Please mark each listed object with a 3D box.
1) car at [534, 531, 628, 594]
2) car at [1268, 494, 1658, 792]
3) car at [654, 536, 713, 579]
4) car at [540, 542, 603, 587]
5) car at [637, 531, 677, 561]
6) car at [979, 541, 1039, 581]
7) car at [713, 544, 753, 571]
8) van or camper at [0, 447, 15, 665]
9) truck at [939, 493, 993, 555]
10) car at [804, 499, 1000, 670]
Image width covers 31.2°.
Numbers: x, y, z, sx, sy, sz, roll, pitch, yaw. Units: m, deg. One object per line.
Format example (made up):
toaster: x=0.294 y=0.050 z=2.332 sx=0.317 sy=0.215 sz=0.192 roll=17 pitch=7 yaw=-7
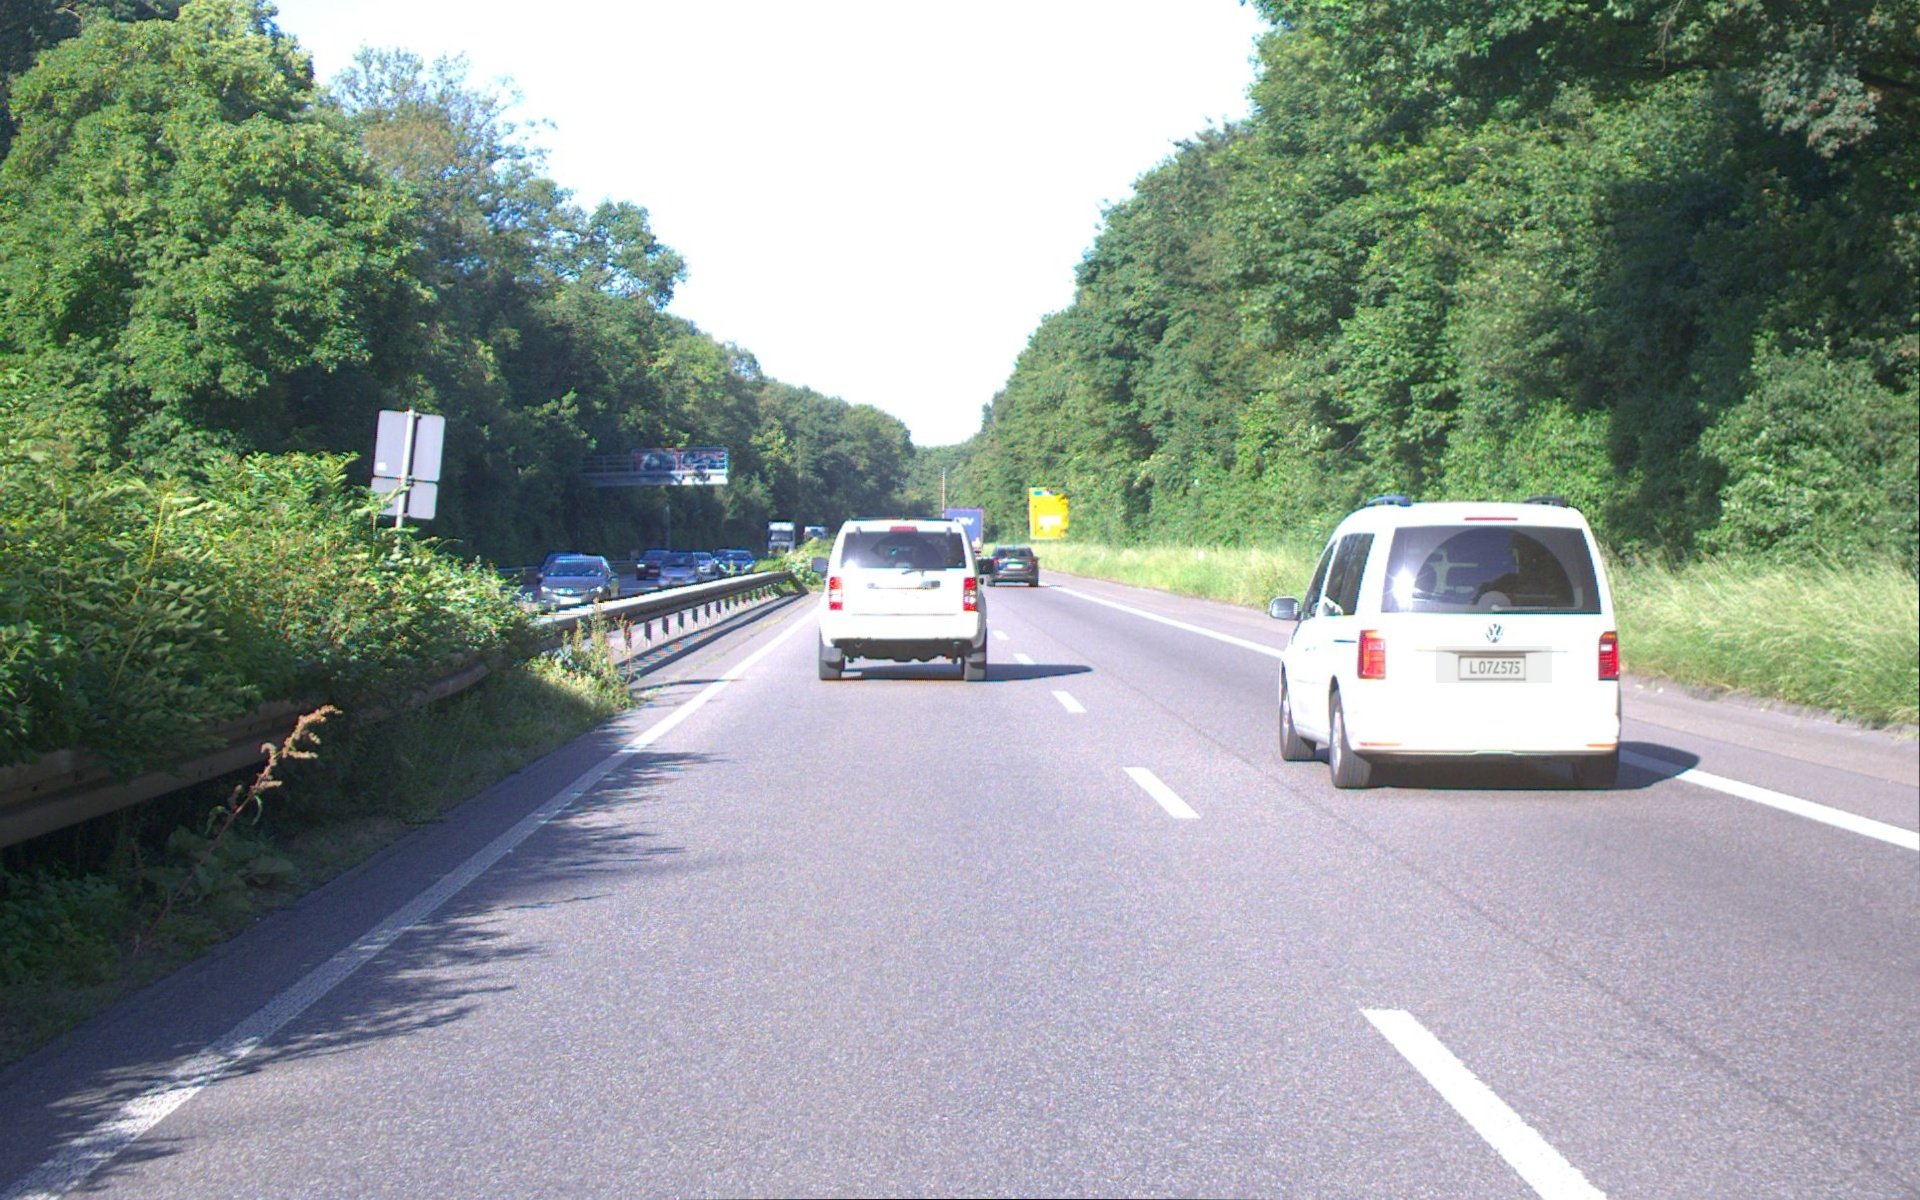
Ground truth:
car: x=-9.542 y=-0.967 z=86.788 sx=1.960 sy=1.535 sz=4.465 roll=0 pitch=1 yaw=-1
car: x=3.197 y=0.206 z=22.709 sx=1.863 sy=1.764 sz=4.470 roll=0 pitch=1 yaw=0
car: x=-10.198 y=-1.572 z=127.138 sx=1.877 sy=1.535 sz=4.465 roll=-1 pitch=1 yaw=-1
car: x=-13.858 y=-1.280 z=122.764 sx=1.836 sy=1.535 sz=4.431 roll=0 pitch=1 yaw=-1
car: x=-15.140 y=-2.706 z=171.691 sx=1.718 sy=1.440 sz=4.229 roll=-1 pitch=1 yaw=-1
car: x=1.736 y=-1.379 z=123.357 sx=1.993 sy=1.393 sz=4.000 roll=1 pitch=1 yaw=-1
car: x=-11.585 y=-2.189 z=175.631 sx=1.835 sy=1.352 sz=4.475 roll=0 pitch=1 yaw=-1
van or camper: x=-12.946 y=-0.494 z=40.843 sx=1.993 sy=2.712 sz=5.254 roll=-1 pitch=1 yaw=-1
truck: x=0.396 y=-5.254 z=238.598 sx=3.496 sy=4.158 sz=8.862 roll=-1 pitch=1 yaw=-1
car: x=-0.707 y=-0.205 z=38.608 sx=2.085 sy=1.822 sz=4.001 roll=0 pitch=1 yaw=-3
